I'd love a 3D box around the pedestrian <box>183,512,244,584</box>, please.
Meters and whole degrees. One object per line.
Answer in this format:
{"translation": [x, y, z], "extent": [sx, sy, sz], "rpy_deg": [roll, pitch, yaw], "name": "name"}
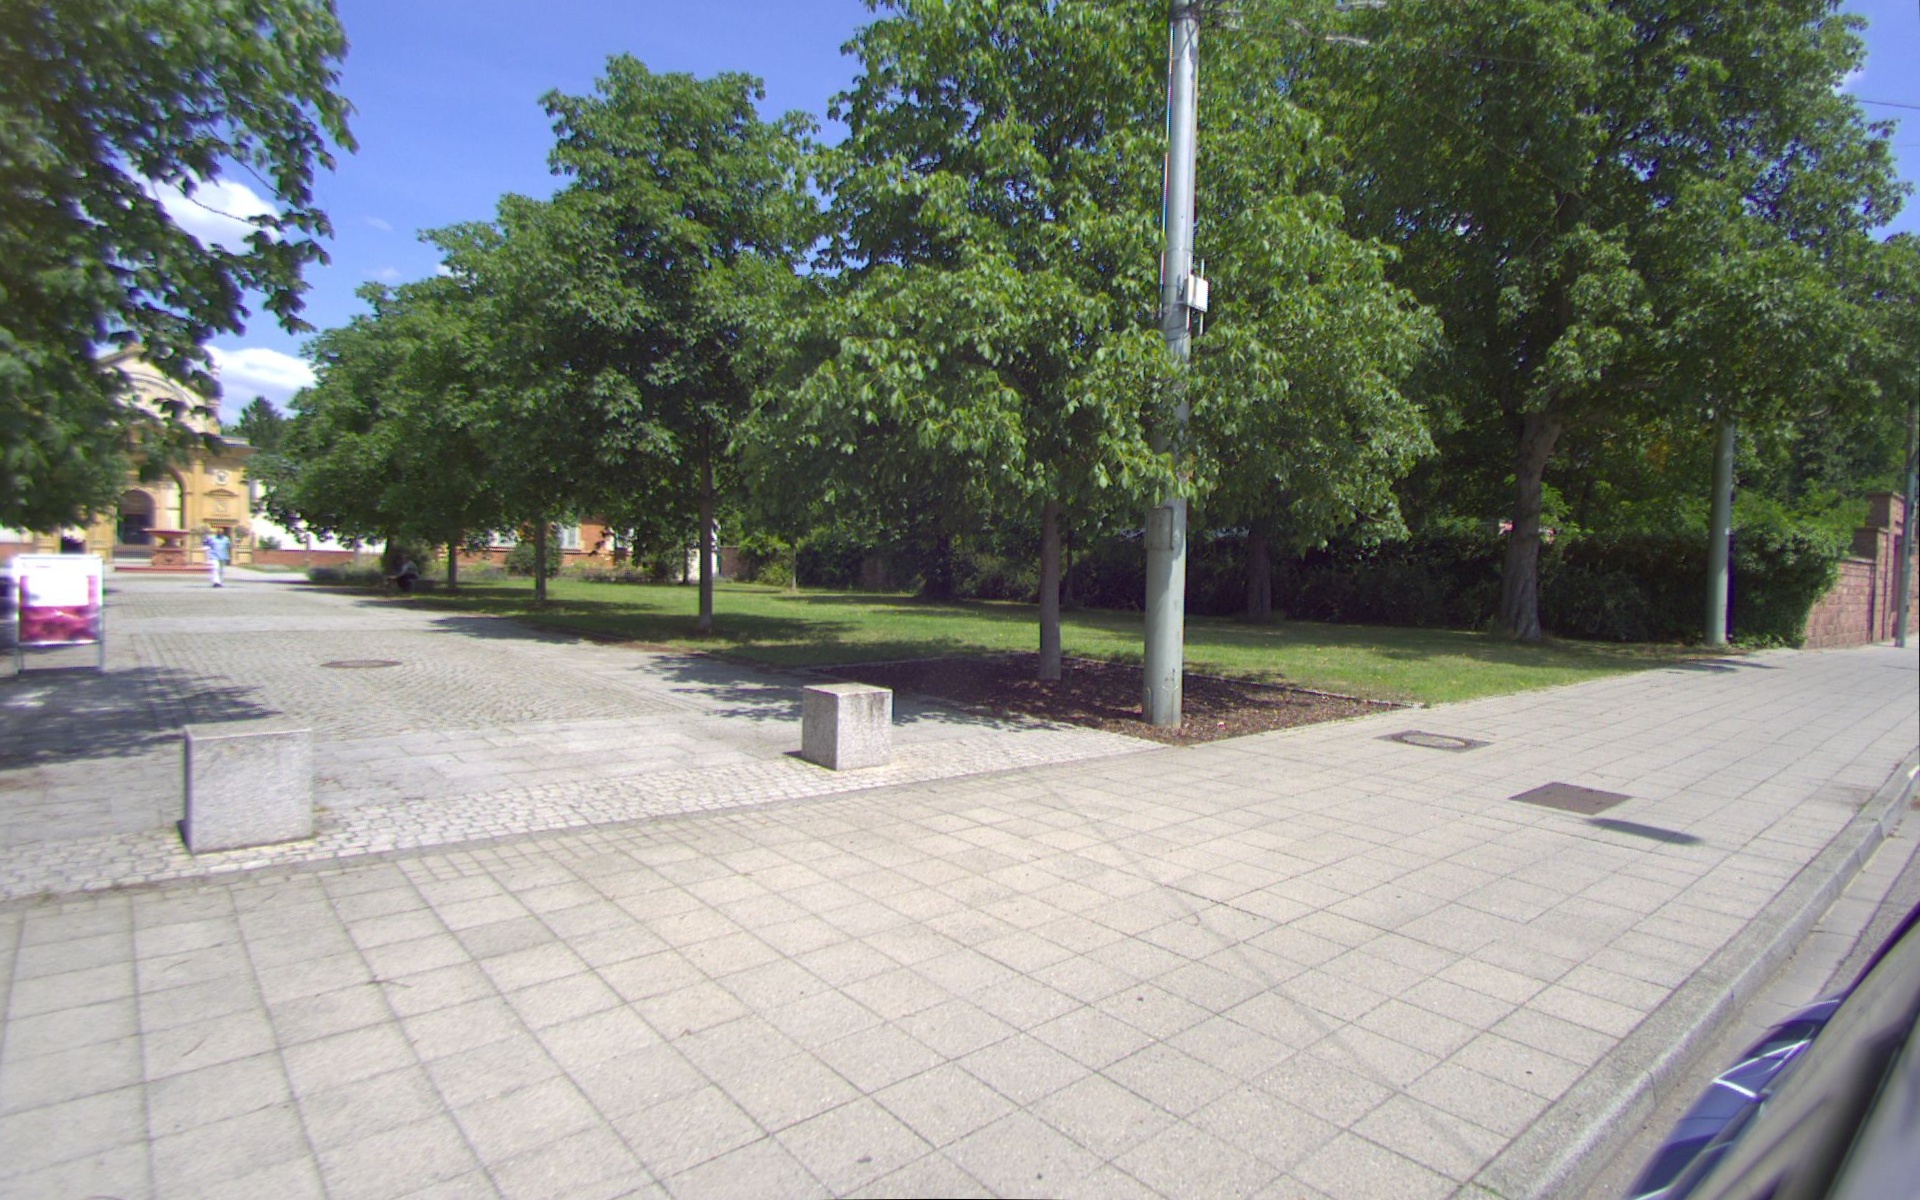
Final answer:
{"translation": [-21.720, -1.525, 29.458], "extent": [0.820, 2.037, 1.242], "rpy_deg": [5, 4, 37], "name": "pedestrian"}
